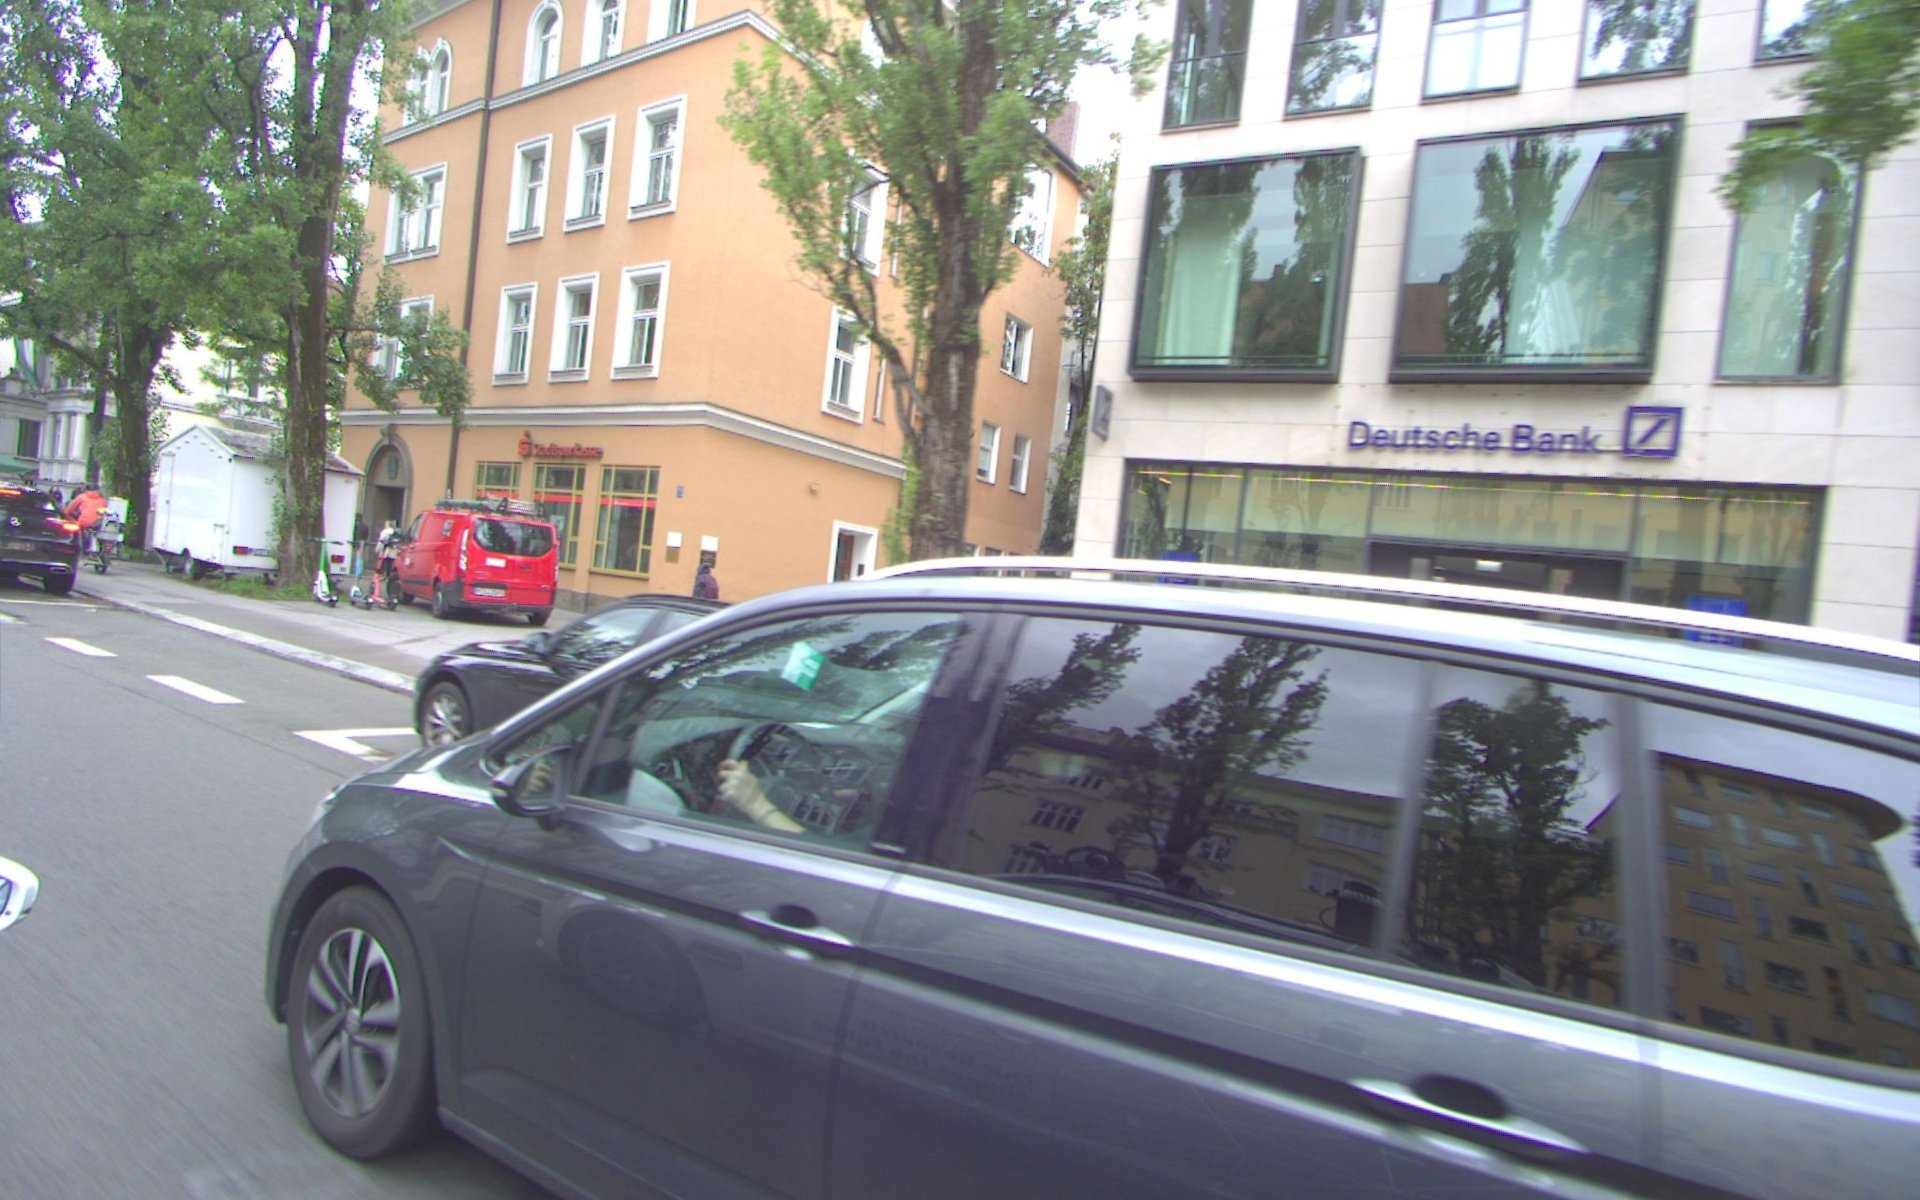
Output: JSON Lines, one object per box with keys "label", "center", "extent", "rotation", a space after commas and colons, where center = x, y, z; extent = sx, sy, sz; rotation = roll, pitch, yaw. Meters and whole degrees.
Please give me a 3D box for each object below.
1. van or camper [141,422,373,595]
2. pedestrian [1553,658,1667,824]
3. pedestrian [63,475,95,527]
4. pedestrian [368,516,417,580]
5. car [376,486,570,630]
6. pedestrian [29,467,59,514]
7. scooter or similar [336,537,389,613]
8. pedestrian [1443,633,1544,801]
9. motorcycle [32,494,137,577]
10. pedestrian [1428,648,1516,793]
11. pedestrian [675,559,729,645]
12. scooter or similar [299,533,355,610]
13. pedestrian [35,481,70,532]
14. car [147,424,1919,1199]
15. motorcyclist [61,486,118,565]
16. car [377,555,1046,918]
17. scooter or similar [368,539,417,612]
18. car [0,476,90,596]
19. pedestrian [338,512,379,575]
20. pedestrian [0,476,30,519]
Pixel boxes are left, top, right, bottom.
{"label": "van or camper", "center": [-15.058, -1.975, 21.476], "extent": [4.641, 3.152, 2.460], "rotation": [7, 2, 35]}
{"label": "pedestrian", "center": [7.094, 1.509, 11.028], "extent": [0.823, 1.642, 0.737], "rotation": [7, 2, 28]}
{"label": "pedestrian", "center": [-33.993, -3.825, 38.816], "extent": [0.756, 1.895, 0.699], "rotation": [6, -1, 43]}
{"label": "pedestrian", "center": [-15.735, -1.438, 27.891], "extent": [0.767, 1.634, 0.820], "rotation": [7, 2, 37]}
{"label": "car", "center": [-9.610, -0.901, 19.639], "extent": [1.894, 2.358, 4.764], "rotation": [5, 2, -44]}
{"label": "pedestrian", "center": [-34.472, -4.110, 37.870], "extent": [0.756, 1.666, 0.647], "rotation": [6, -1, 44]}
{"label": "scooter or similar", "center": [-10.789, -0.459, 18.152], "extent": [0.484, 1.249, 1.389], "rotation": [3, 3, -43]}
{"label": "pedestrian", "center": [5.550, 1.212, 10.477], "extent": [0.546, 1.658, 0.554], "rotation": [6, 1, -31]}
{"label": "motorcycle", "center": [-16.999, -1.261, 19.523], "extent": [2.215, 1.388, 0.827], "rotation": [7, 2, 31]}
{"label": "pedestrian", "center": [5.686, 1.334, 11.183], "extent": [0.498, 1.510, 0.543], "rotation": [6, 1, -31]}
{"label": "pedestrian", "center": [-5.021, 0.041, 19.603], "extent": [0.701, 1.571, 0.606], "rotation": [6, 2, 6]}
{"label": "scooter or similar", "center": [-11.309, -0.529, 17.957], "extent": [0.523, 1.249, 1.458], "rotation": [3, 3, -43]}
{"label": "pedestrian", "center": [-31.869, -3.273, 35.332], "extent": [0.663, 1.671, 0.621], "rotation": [6, 1, -29]}
{"label": "car", "center": [-0.021, 0.593, 2.554], "extent": [4.113, 1.633, 1.764], "rotation": [7, 0, 31]}
{"label": "motorcyclist", "center": [-16.983, -1.454, 19.628], "extent": [0.753, 1.425, 0.564], "rotation": [7, 2, 31]}
{"label": "car", "center": [-1.819, 0.652, 6.731], "extent": [4.360, 1.412, 1.734], "rotation": [7, 1, 33]}
{"label": "scooter or similar", "center": [-10.506, -0.464, 18.605], "extent": [0.484, 1.249, 1.153], "rotation": [3, 3, -43]}
{"label": "car", "center": [-15.643, -1.175, 15.858], "extent": [4.511, 1.662, 1.880], "rotation": [7, 1, 36]}
{"label": "pedestrian", "center": [-16.680, -1.554, 27.885], "extent": [0.630, 1.634, 0.672], "rotation": [7, 2, 37]}
{"label": "pedestrian", "center": [-43.632, -4.731, 46.446], "extent": [0.728, 1.877, 0.761], "rotation": [7, 2, 31]}
